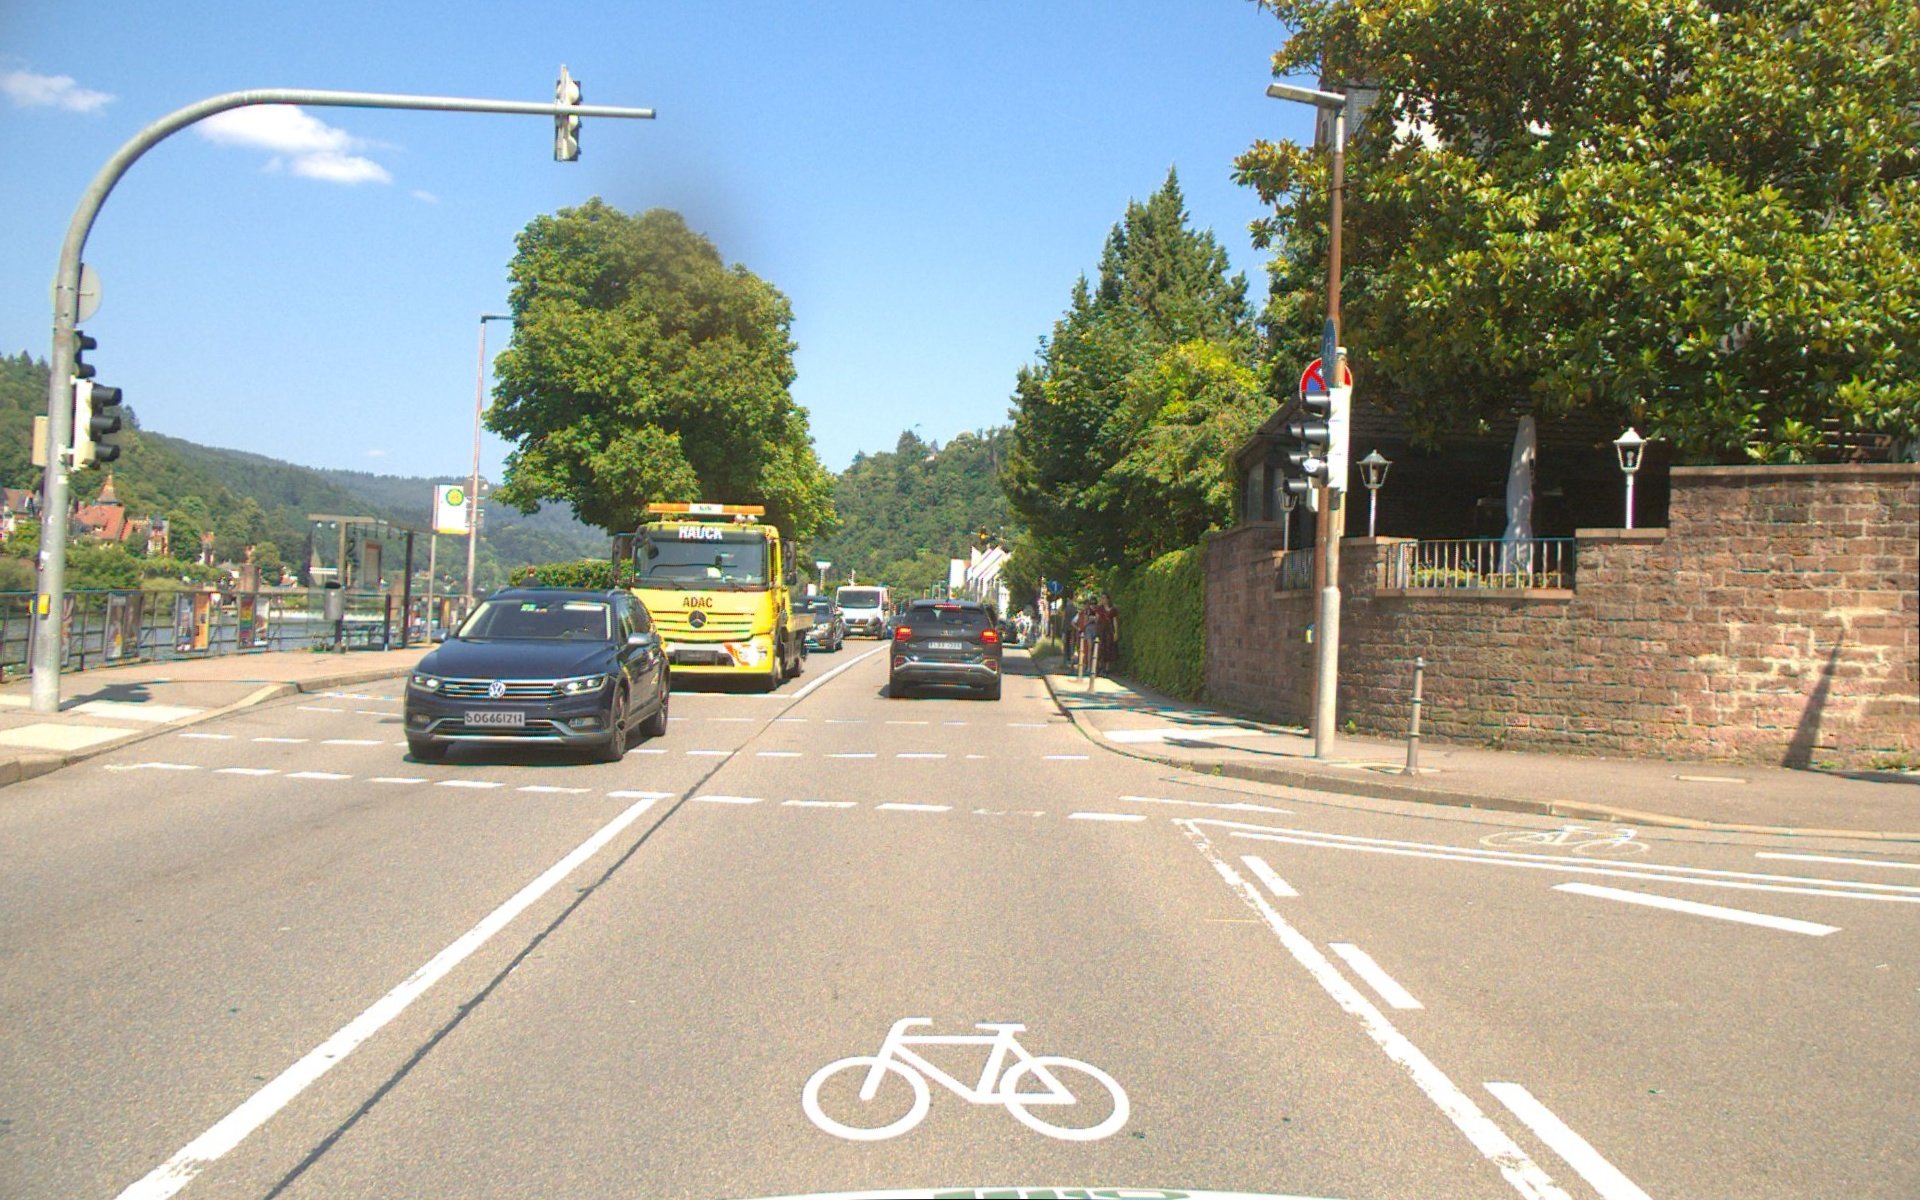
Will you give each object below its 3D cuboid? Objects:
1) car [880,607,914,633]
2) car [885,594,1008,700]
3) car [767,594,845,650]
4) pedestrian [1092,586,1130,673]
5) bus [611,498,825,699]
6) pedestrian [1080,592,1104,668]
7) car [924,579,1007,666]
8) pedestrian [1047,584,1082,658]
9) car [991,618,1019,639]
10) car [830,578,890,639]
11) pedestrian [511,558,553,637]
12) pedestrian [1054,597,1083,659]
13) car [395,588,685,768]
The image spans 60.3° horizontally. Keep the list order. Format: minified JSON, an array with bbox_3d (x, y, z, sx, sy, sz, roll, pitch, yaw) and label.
[{"bbox_3d":[-3.729,1.212,98.602,1.860,1.515,3.795,1,-1,0],"label":"car"},{"bbox_3d":[-0.147,0.726,26.828,1.818,1.550,4.000,1,-1,1],"label":"car"},{"bbox_3d":[-4.260,0.590,46.390,1.778,1.422,4.346,1,1,0],"label":"car"},{"bbox_3d":[3.182,0.609,34.891,0.667,1.772,0.913,2,1,0],"label":"pedestrian"},{"bbox_3d":[-3.936,-0.036,28.786,2.544,2.947,8.445,1,0,-1],"label":"bus"},{"bbox_3d":[2.883,0.649,36.227,0.446,1.634,0.579,1,0,0],"label":"pedestrian"},{"bbox_3d":[0.109,0.545,41.900,1.953,2.049,3.999,1,0,-1],"label":"car"},{"bbox_3d":[2.410,0.481,38.188,0.720,1.662,0.920,1,0,0],"label":"pedestrian"},{"bbox_3d":[3.348,2.123,123.558,1.952,1.478,4.008,1,-2,1],"label":"car"},{"bbox_3d":[-4.079,0.299,68.484,2.053,2.342,5.869,1,1,0],"label":"car"},{"bbox_3d":[-10.706,-0.053,41.380,0.738,1.951,1.009,1,-2,0],"label":"pedestrian"},{"bbox_3d":[3.009,0.777,46.005,0.713,1.679,0.882,-1,0,1],"label":"pedestrian"},{"bbox_3d":[-3.815,0.628,15.783,1.772,1.431,4.355,1,1,-2],"label":"car"}]
